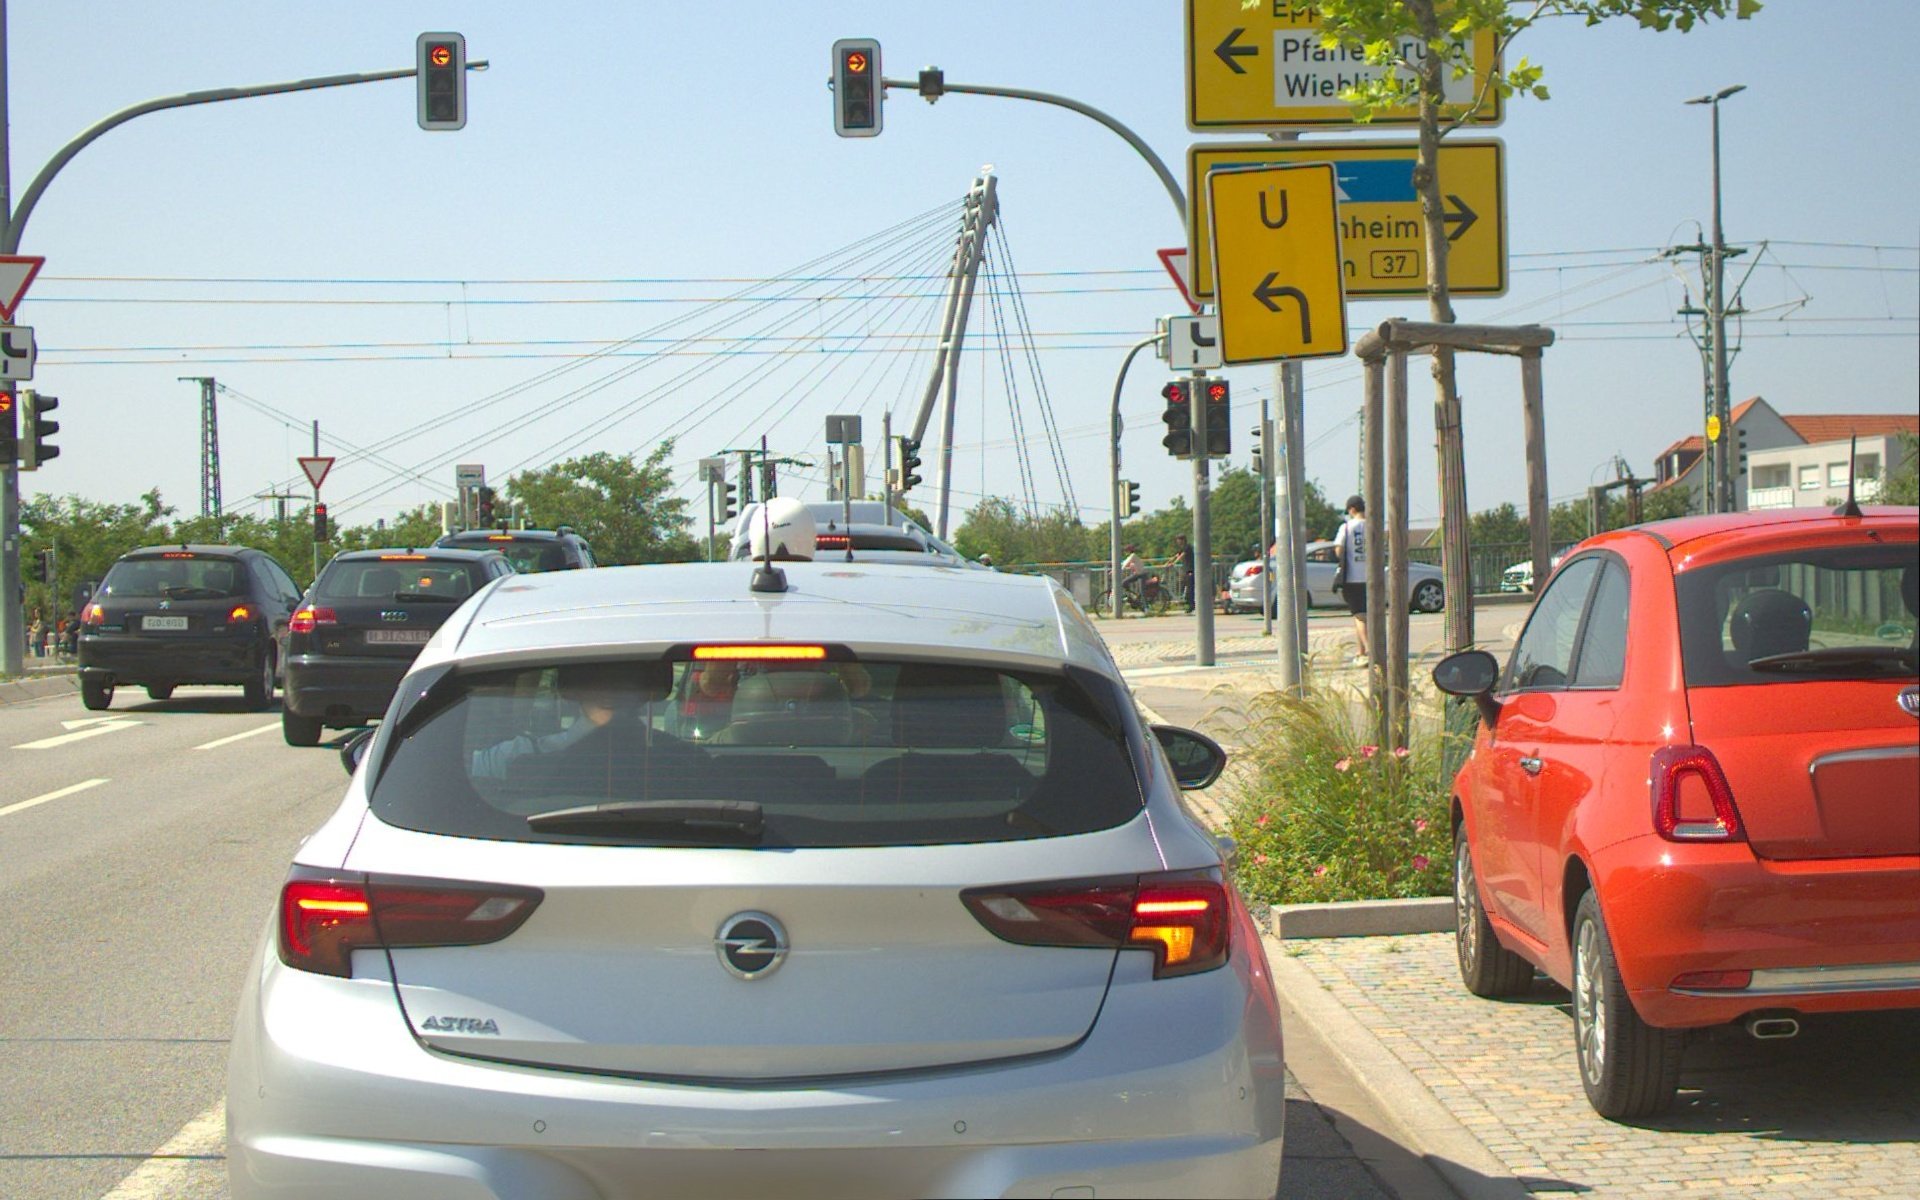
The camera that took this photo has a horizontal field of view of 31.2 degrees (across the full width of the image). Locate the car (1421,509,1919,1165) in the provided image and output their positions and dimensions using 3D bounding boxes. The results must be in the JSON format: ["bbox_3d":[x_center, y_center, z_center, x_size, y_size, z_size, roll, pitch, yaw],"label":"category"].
[{"bbox_3d":[2.347,0.515,9.751,1.610,1.491,3.352,-2,1,1],"label":"car"}]

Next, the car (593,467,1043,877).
[{"bbox_3d":[-0.661,0.267,17.623,1.993,1.814,4.402,1,2,-1],"label":"car"}]

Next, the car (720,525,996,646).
[{"bbox_3d":[-1.780,-0.250,59.788,4.702,2.007,2.000,1,0,-2],"label":"car"}]

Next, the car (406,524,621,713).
[{"bbox_3d":[-4.043,0.140,31.594,1.649,1.610,3.821,1,1,-3],"label":"car"}]

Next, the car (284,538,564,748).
[{"bbox_3d":[-3.929,0.279,25.712,1.575,1.429,3.786,1,1,-1],"label":"car"}]

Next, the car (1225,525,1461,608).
[{"bbox_3d":[7.127,-0.619,64.244,3.986,1.477,2.000,1,1,-8],"label":"car"}]

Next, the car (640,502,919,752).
[{"bbox_3d":[-1.169,0.114,23.757,1.724,1.558,4.000,1,2,0],"label":"car"}]

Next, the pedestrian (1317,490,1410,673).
[{"bbox_3d":[4.103,-0.186,34.925,0.648,1.830,0.796,-1,0,31],"label":"pedestrian"}]

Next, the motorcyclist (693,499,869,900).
[{"bbox_3d":[-0.632,0.342,12.298,0.581,1.384,0.707,1,0,-1],"label":"motorcyclist"}]

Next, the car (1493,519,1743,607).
[{"bbox_3d":[12.348,-0.683,64.591,4.273,1.626,1.756,0,0,-16],"label":"car"}]

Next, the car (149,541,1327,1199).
[{"bbox_3d":[-0.435,0.639,7.130,1.742,1.473,4.001,1,1,-3],"label":"car"}]

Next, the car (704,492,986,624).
[{"bbox_3d":[-2.066,-0.758,62.699,5.000,2.368,1.784,0,0,3],"label":"car"}]

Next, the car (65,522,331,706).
[{"bbox_3d":[-6.815,0.101,31.074,1.597,1.542,3.762,1,1,-1],"label":"car"}]
